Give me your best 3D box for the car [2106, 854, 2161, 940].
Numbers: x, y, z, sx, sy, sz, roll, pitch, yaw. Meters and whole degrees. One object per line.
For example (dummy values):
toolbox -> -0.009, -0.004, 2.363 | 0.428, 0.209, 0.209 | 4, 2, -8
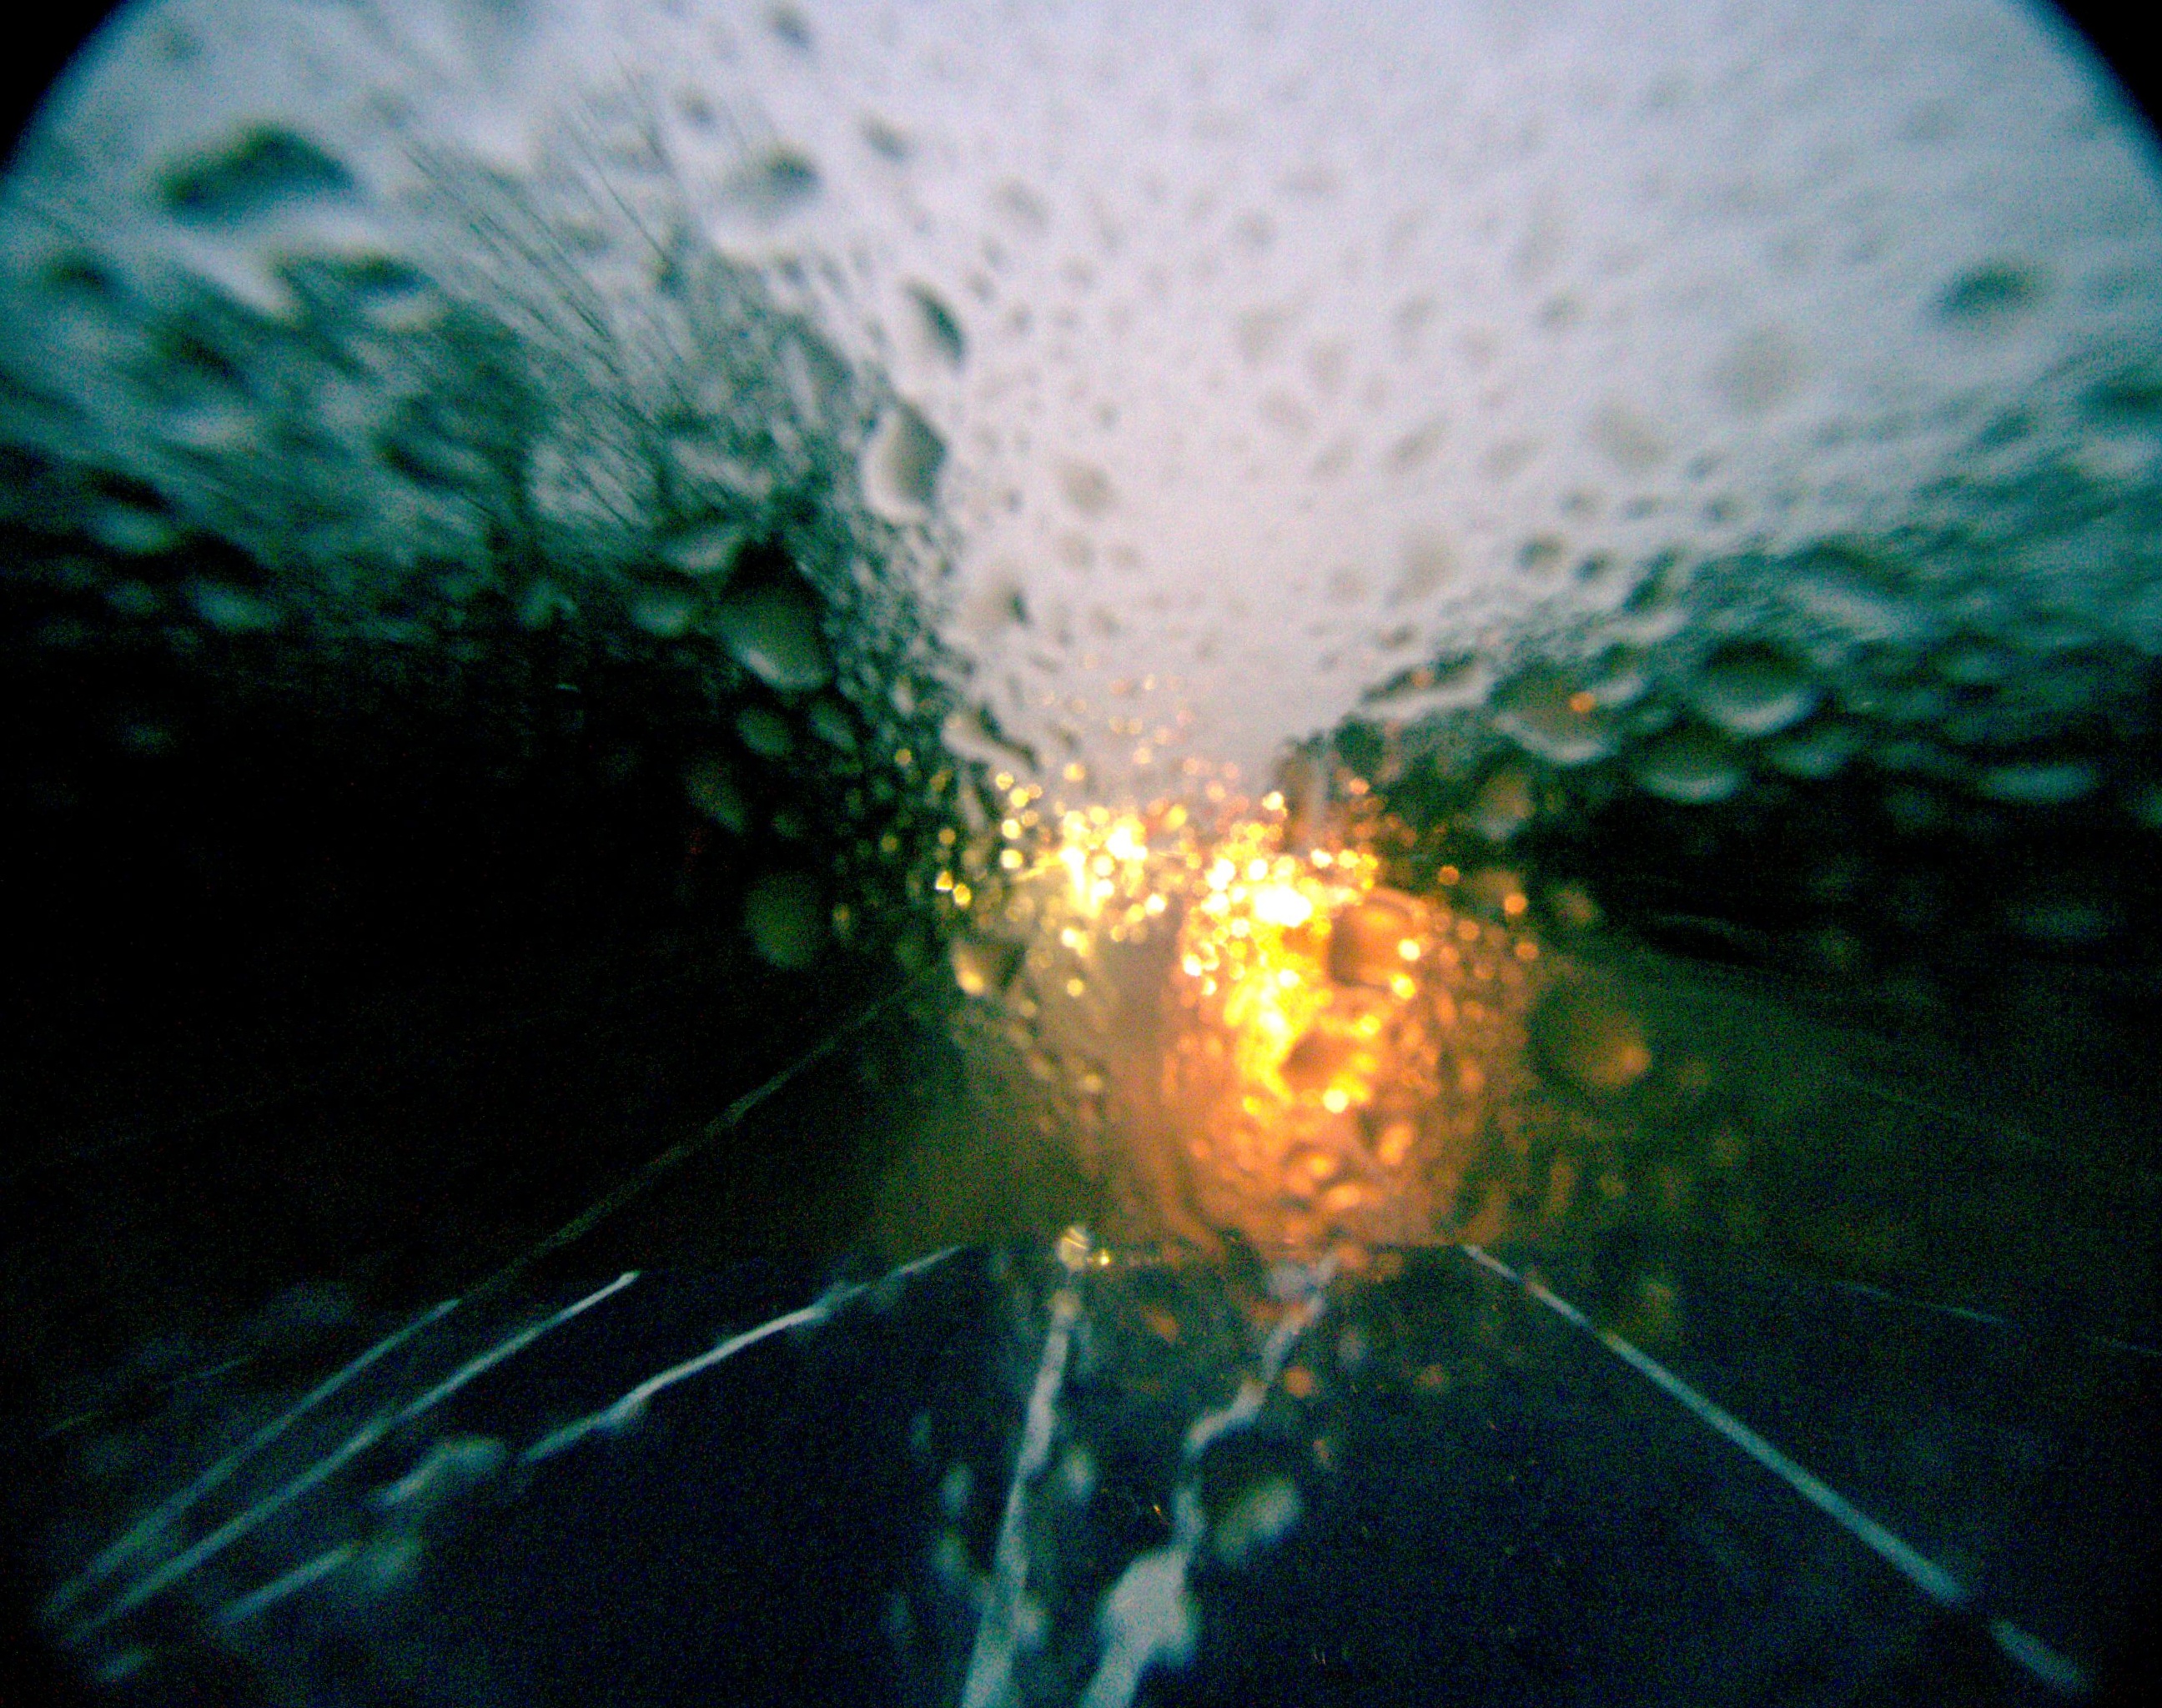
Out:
car -> 20.032, 0.799, 12.026 | 1.549, 1.504, 4.540 | -1, 1, 2

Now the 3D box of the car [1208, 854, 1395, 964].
car -> 3.548, 0.784, 13.246 | 1.952, 1.511, 4.787 | 0, 1, 1

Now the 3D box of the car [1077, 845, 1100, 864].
car -> 0.667, -0.001, 67.524 | 1.841, 1.553, 3.866 | -2, 1, -2

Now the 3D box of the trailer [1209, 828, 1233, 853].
trailer -> 28.243, -2.726, 154.042 | 3.497, 4.820, 13.483 | -2, 1, 6

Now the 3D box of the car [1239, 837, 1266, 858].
car -> 24.552, -0.957, 108.806 | 2.533, 2.715, 6.339 | -2, 1, 2

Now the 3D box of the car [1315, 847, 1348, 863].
car -> 22.397, 0.048, 68.067 | 1.549, 1.314, 4.257 | -2, 1, 2

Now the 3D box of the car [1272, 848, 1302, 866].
car -> 18.394, 0.230, 68.083 | 1.549, 1.435, 4.361 | -2, 1, 2

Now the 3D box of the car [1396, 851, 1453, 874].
car -> 21.499, 0.510, 47.720 | 1.549, 1.264, 4.686 | -2, 1, 2
